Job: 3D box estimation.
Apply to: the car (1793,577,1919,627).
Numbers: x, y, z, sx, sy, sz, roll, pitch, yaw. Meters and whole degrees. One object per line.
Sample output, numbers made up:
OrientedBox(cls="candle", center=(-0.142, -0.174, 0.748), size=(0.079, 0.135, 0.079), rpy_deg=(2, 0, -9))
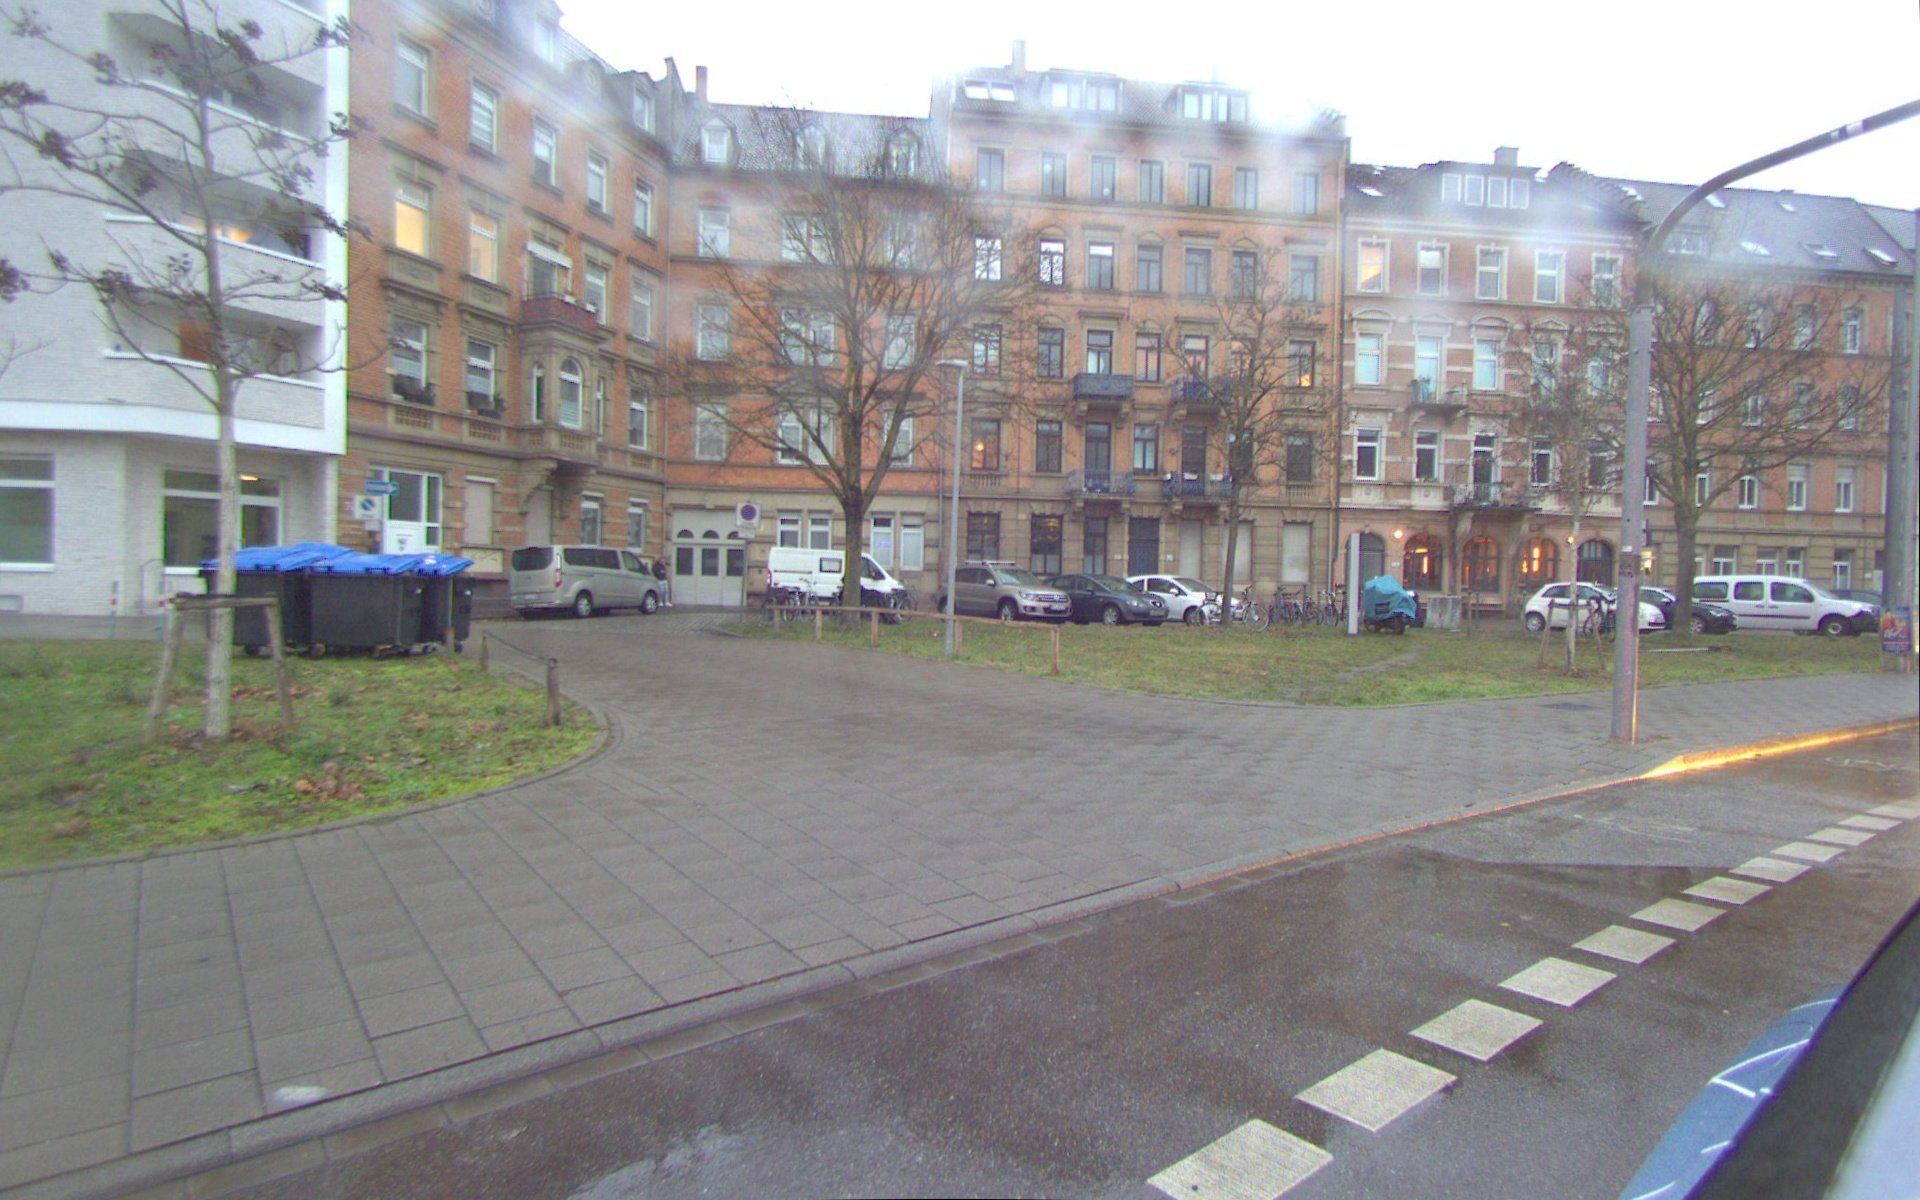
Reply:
OrientedBox(cls="car", center=(27.153, 0.098, 29.519), size=(1.737, 1.250, 4.066), rpy_deg=(2, 3, -35))

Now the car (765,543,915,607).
OrientedBox(cls="car", center=(-4.092, -0.871, 34.516), size=(4.885, 2.038, 2.004), rpy_deg=(1, 2, -7))

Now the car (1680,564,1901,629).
OrientedBox(cls="car", center=(24.122, -0.165, 29.579), size=(1.745, 1.611, 4.663), rpy_deg=(0, 3, -37))

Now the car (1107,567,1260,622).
OrientedBox(cls="car", center=(6.031, -0.183, 27.616), size=(1.669, 1.353, 3.852), rpy_deg=(0, 1, -42))

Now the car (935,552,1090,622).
OrientedBox(cls="car", center=(1.288, -0.399, 26.440), size=(1.908, 1.656, 4.000), rpy_deg=(-1, 3, -37))

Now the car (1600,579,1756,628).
OrientedBox(cls="car", center=(20.972, 0.076, 29.662), size=(1.634, 1.368, 3.430), rpy_deg=(1, 0, -39))

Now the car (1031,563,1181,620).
OrientedBox(cls="car", center=(3.795, -0.219, 26.776), size=(1.649, 1.372, 3.737), rpy_deg=(2, 0, -42))

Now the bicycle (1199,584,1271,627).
OrientedBox(cls="bicycle", center=(6.625, 0.118, 24.428), size=(1.628, 0.948, 0.512), rpy_deg=(2, 1, 15))

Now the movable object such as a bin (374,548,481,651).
OrientedBox(cls="movable object such as a bin", center=(-8.046, 0.006, 15.335), size=(1.022, 1.509, 1.035), rpy_deg=(0, -1, 6))

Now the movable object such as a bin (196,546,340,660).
OrientedBox(cls="movable object such as a bin", center=(-9.578, 0.036, 14.069), size=(1.303, 1.514, 1.032), rpy_deg=(1, 1, -4))

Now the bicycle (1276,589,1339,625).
OrientedBox(cls="bicycle", center=(10.050, 0.183, 29.364), size=(0.613, 0.978, 2.175), rpy_deg=(3, -1, -13))

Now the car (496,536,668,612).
OrientedBox(cls="car", center=(-10.512, -0.634, 28.579), size=(1.976, 1.943, 4.715), rpy_deg=(-1, -1, 21))

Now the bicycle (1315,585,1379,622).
OrientedBox(cls="bicycle", center=(11.193, 0.074, 29.358), size=(0.613, 0.978, 2.176), rpy_deg=(1, 2, -13))

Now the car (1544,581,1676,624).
OrientedBox(cls="car", center=(24.214, 0.102, 37.763), size=(3.967, 1.520, 1.740), rpy_deg=(1, -1, -9))

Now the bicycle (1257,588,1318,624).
OrientedBox(cls="bicycle", center=(9.424, 0.155, 29.191), size=(0.613, 0.978, 2.175), rpy_deg=(3, -1, -13))

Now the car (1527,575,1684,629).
OrientedBox(cls="car", center=(18.420, 0.056, 28.991), size=(1.583, 1.461, 3.467), rpy_deg=(1, 0, -34))

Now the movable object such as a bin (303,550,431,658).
OrientedBox(cls="movable object such as a bin", center=(-8.280, 0.031, 14.186), size=(1.200, 1.433, 1.018), rpy_deg=(1, 2, -3))
